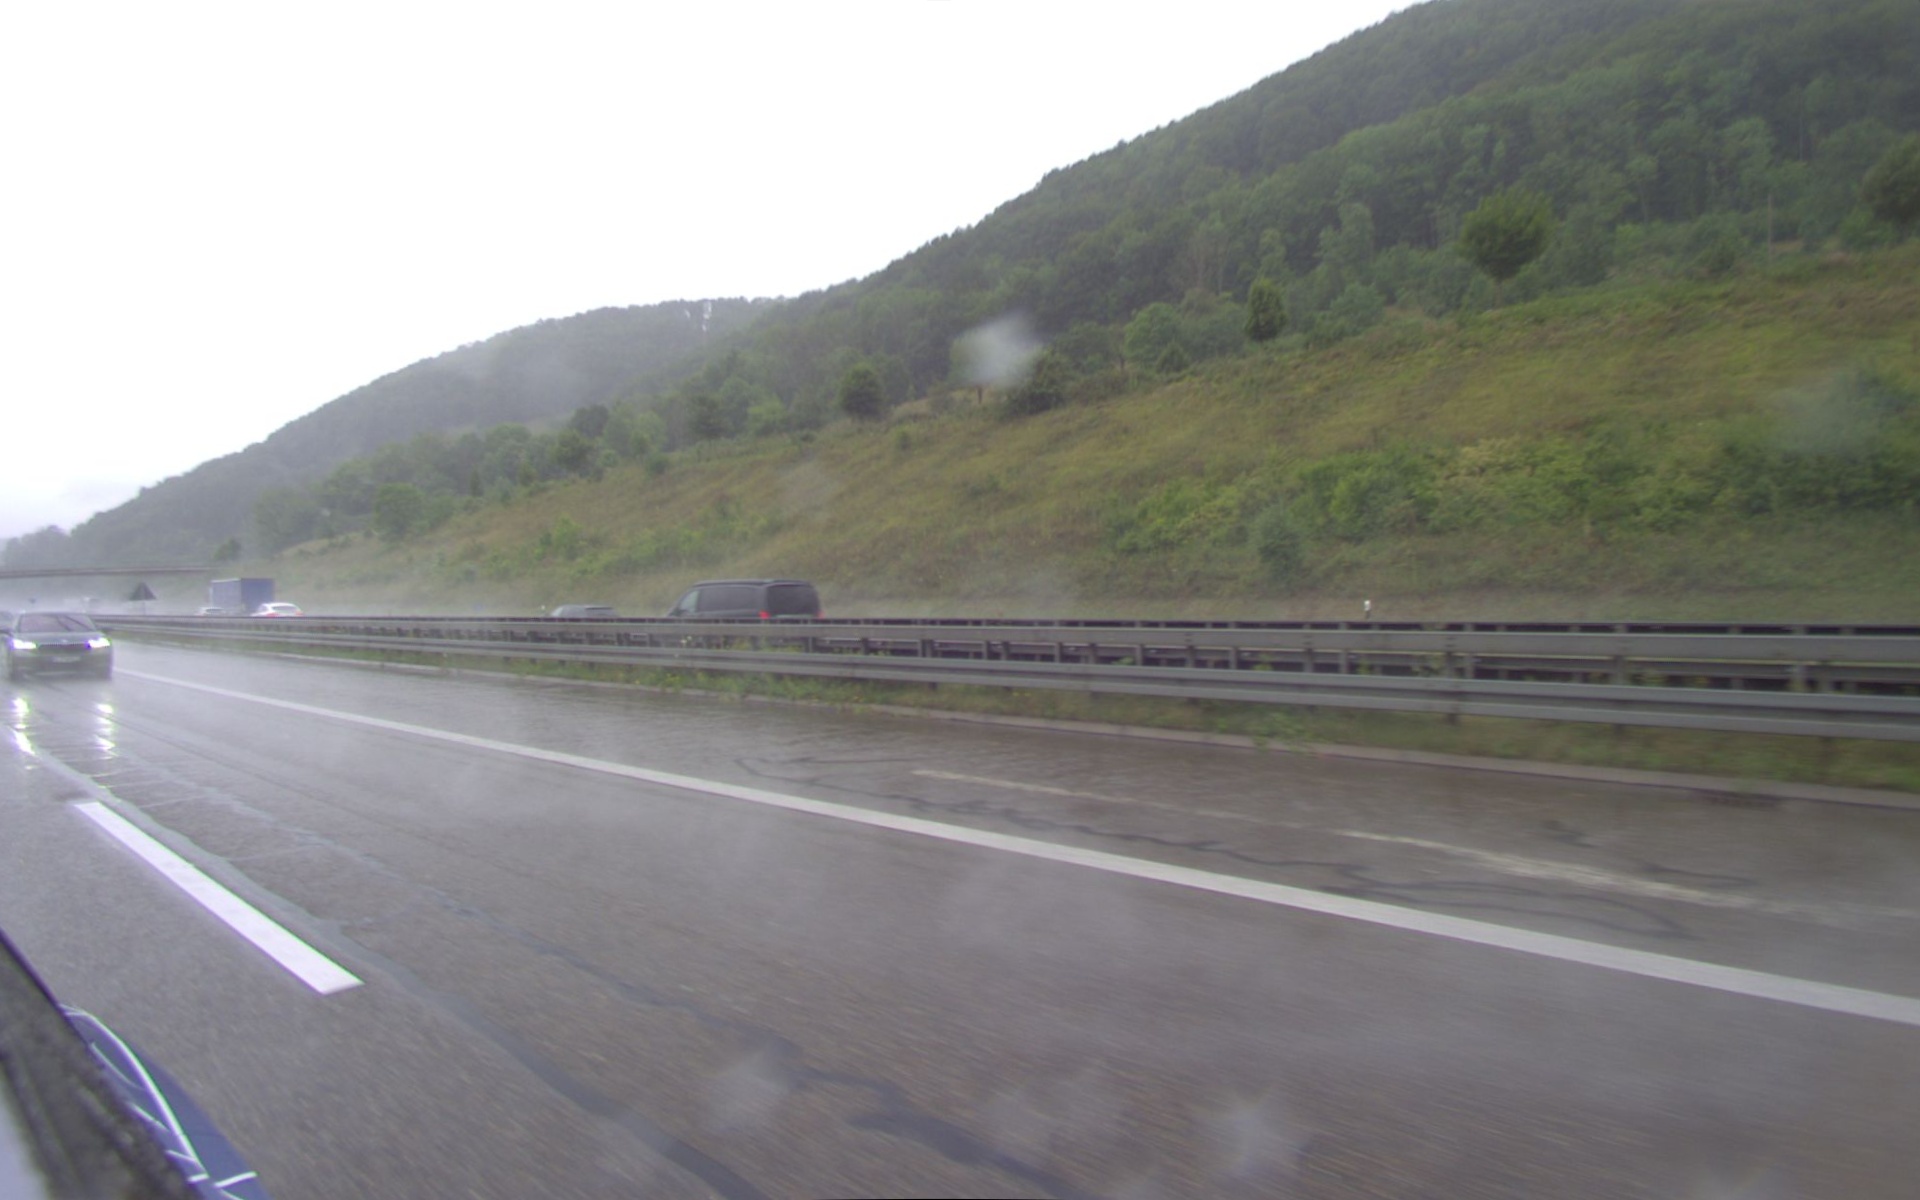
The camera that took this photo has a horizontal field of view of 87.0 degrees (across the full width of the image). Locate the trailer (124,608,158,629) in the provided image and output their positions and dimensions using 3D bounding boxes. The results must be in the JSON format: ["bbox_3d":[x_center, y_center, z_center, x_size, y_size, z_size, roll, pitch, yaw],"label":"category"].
[{"bbox_3d":[-129.583,2.877,160.078,2.781,3.076,14.909,-1,0,-44],"label":"trailer"}]

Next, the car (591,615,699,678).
[{"bbox_3d":[-10.981,1.575,35.157,3.999,2.029,1.771,-1,0,42],"label":"car"}]

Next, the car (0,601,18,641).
[{"bbox_3d":[-43.412,0.953,45.111,3.749,1.715,1.790,-1,-1,43],"label":"car"}]

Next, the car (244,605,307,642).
[{"bbox_3d":[-38.824,1.320,57.368,5.392,2.029,1.971,-1,-1,45],"label":"car"}]

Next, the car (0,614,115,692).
[{"bbox_3d":[-22.136,1.192,24.397,4.907,1.696,1.972,-1,-1,41],"label":"car"}]

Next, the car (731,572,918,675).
[{"bbox_3d":[-2.990,0.487,21.858,3.997,2.029,1.775,-1,0,40],"label":"car"}]

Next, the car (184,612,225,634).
[{"bbox_3d":[-63.955,1.965,85.691,4.659,1.758,1.972,-1,0,43],"label":"car"}]

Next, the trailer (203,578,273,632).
[{"bbox_3d":[-67.802,0.517,94.874,14.045,4.822,2.706,-1,0,44],"label":"trailer"}]
